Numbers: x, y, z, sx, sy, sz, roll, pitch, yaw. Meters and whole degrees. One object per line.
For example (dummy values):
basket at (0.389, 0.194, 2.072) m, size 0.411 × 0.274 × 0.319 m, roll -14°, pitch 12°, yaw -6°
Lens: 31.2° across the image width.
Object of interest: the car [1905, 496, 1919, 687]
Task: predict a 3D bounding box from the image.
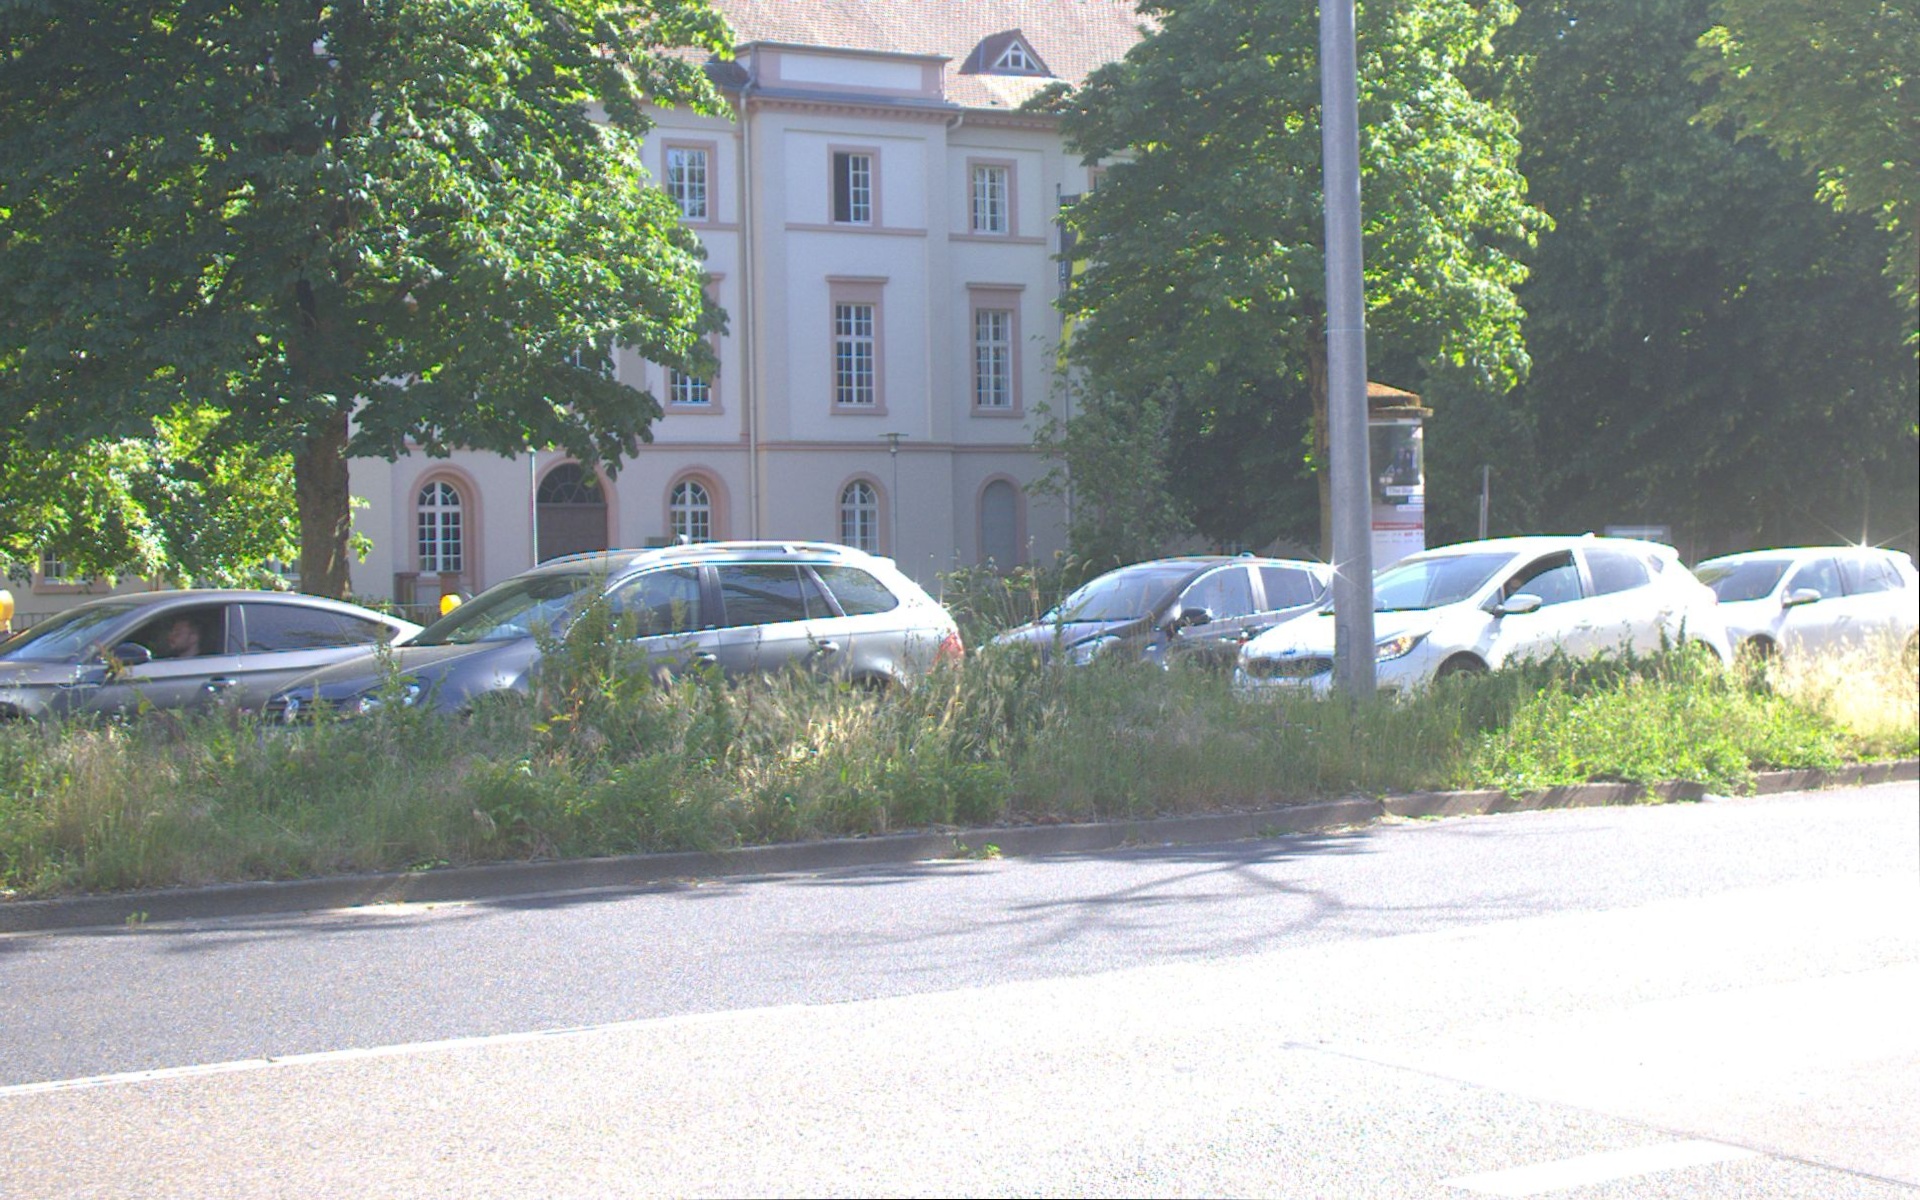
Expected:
car at (12.672, -0.127, 37.309) m, size 5.003 × 2.021 × 2.239 m, roll -1°, pitch 1°, yaw -41°

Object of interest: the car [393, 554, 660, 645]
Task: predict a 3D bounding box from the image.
car at (-7.949, 0.007, 63.327) m, size 4.671 × 1.487 × 1.647 m, roll 3°, pitch -1°, yaw -40°

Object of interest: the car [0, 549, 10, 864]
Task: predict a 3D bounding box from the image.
car at (-6.804, 0.516, 15.834) m, size 4.334 × 1.514 × 1.801 m, roll 0°, pitch 1°, yaw -41°

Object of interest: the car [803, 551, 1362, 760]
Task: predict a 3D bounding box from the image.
car at (1.026, 0.381, 27.125) m, size 4.334 × 1.514 × 1.801 m, roll 0°, pitch 1°, yaw -41°

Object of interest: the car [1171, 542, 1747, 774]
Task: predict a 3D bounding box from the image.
car at (3.675, 0.365, 24.924) m, size 4.193 × 1.514 × 1.801 m, roll -1°, pitch 1°, yaw -41°

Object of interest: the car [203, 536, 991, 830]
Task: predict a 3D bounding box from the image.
car at (-2.052, 0.400, 20.243) m, size 4.351 × 1.514 × 1.801 m, roll -2°, pitch 2°, yaw -41°

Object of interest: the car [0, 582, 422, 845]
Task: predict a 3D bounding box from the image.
car at (-5.666, 0.664, 21.254) m, size 4.334 × 1.514 × 1.801 m, roll 0°, pitch 1°, yaw -41°

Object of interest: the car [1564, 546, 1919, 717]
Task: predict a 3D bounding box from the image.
car at (7.777, 0.258, 32.761) m, size 4.068 × 1.514 × 1.801 m, roll -1°, pitch 1°, yaw -41°
